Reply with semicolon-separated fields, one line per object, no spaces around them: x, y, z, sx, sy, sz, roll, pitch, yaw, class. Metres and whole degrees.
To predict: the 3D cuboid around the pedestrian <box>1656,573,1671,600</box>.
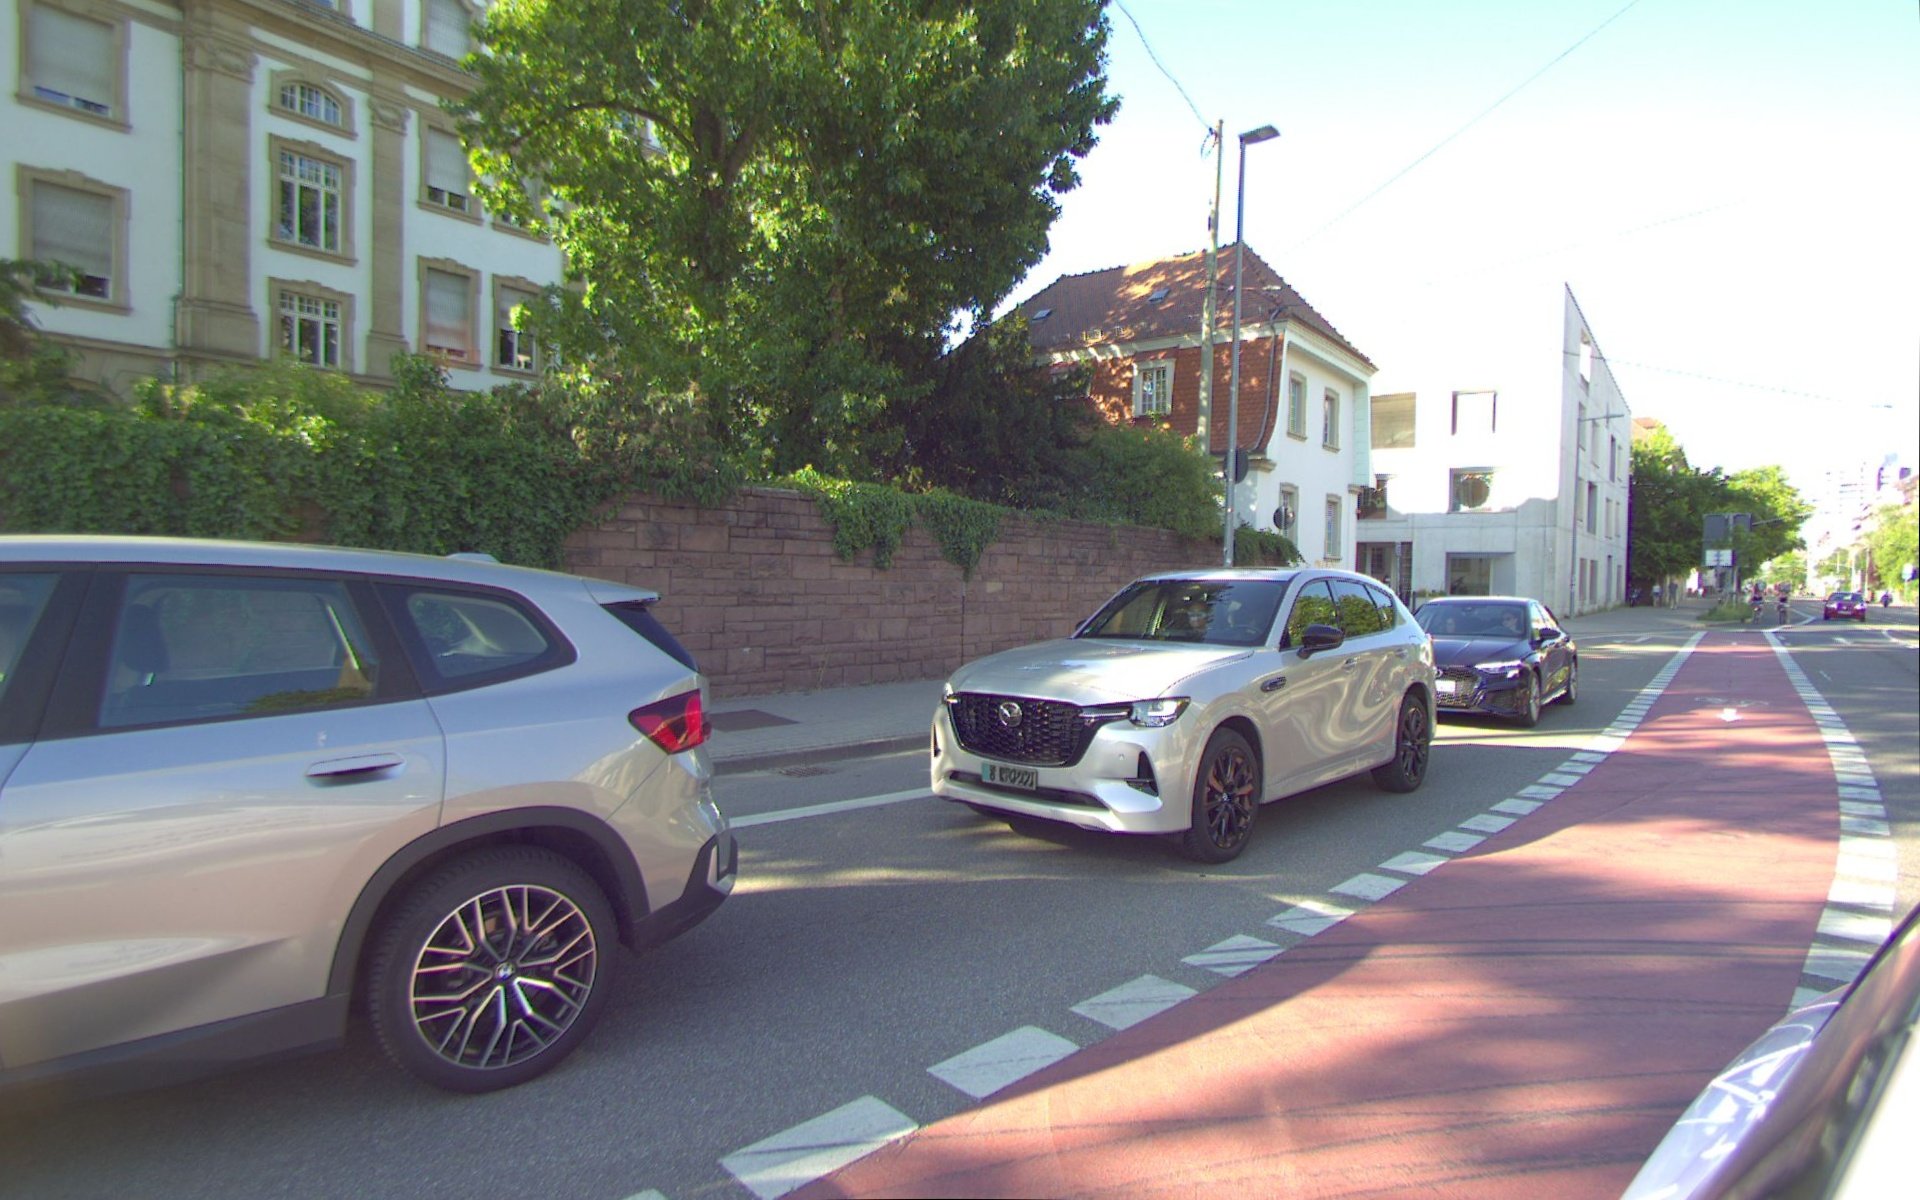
44.096;-0.836;63.422;0.673;1.668;0.806;1;1;40;pedestrian

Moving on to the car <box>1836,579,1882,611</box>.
45.758;-0.256;51.500;1.644;1.580;3.593;0;0;44;car

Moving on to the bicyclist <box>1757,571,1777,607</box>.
38.175;-0.519;47.880;0.673;1.667;1.014;2;2;40;bicyclist

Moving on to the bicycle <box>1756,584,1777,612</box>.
38.243;-0.095;47.976;0.673;1.265;2.421;2;2;40;bicycle

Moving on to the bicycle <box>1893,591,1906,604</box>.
90.487;-0.267;97.433;2.414;1.266;0.675;0;1;-41;bicycle

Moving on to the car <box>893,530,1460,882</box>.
1.811;0.492;7.228;1.940;1.713;4.460;0;1;44;car

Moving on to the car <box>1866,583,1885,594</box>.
132.309;-1.705;146.299;1.640;1.580;3.602;0;0;36;car

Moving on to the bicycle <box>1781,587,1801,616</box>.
38.254;0.040;46.574;0.673;1.265;2.421;2;2;40;bicycle

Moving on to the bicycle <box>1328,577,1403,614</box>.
14.810;-0.173;36.968;2.410;1.266;0.676;1;1;0;bicycle

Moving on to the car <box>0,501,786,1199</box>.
-2.831;0.577;2.957;4.248;1.614;1.792;0;0;-36;car

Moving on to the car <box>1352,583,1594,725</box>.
6.413;0.526;12.438;1.782;1.451;3.941;0;1;41;car

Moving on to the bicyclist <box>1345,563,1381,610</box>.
14.707;-0.491;36.959;1.009;1.667;0.676;1;1;-1;bicyclist

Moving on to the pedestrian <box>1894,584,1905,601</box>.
90.467;-0.713;97.415;0.803;1.668;0.675;0;1;-41;pedestrian

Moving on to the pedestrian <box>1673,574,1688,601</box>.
44.700;-0.785;62.802;0.673;1.668;0.806;1;1;40;pedestrian

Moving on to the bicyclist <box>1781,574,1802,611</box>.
38.275;-0.357;46.583;0.673;1.667;1.014;2;2;40;bicyclist
